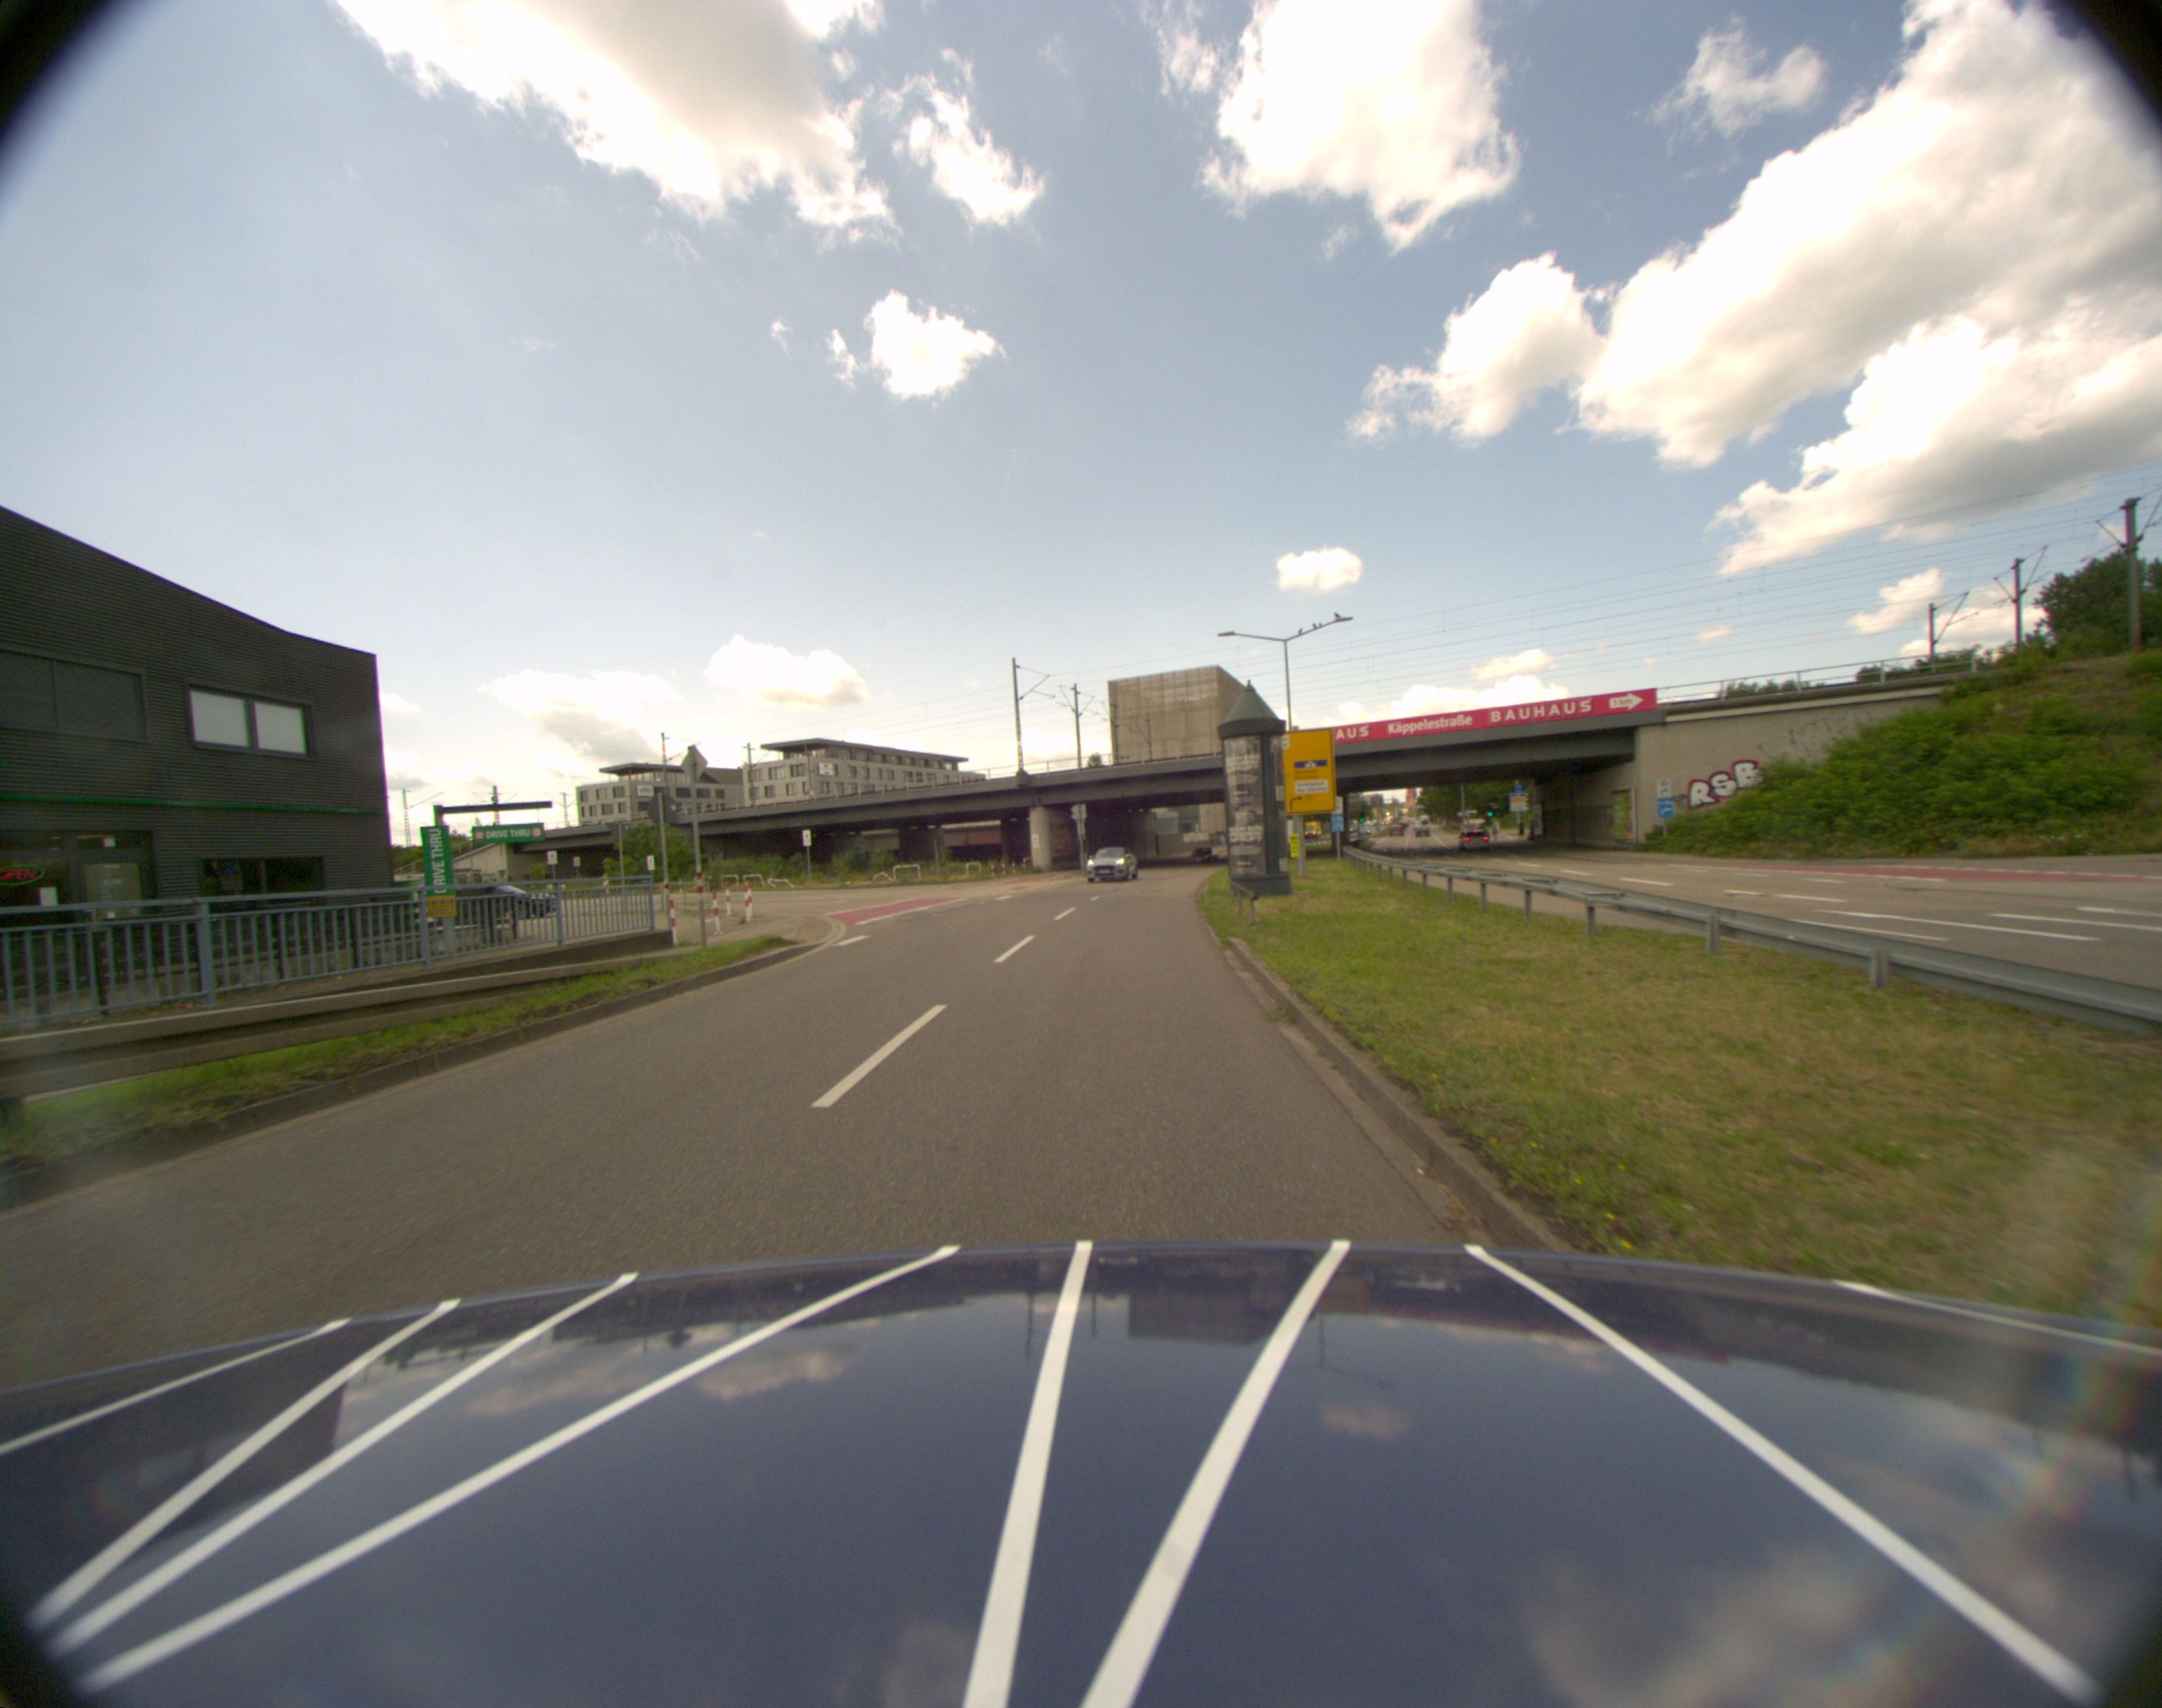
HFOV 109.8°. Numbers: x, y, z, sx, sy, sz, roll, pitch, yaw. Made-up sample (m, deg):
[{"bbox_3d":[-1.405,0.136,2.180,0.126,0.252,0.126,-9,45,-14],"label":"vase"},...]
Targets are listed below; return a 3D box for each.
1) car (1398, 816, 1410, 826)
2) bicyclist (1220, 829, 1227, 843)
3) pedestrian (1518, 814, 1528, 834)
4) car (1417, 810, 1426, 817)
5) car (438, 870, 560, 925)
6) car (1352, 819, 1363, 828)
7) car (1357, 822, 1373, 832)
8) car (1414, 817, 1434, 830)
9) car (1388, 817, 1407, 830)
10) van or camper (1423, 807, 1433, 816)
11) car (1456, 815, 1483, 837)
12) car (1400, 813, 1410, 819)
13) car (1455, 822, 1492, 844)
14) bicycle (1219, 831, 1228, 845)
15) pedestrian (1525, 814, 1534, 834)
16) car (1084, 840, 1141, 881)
[{"bbox_3d":[62.485,-6.422,146.982,1.996,1.749,4.722,-3,2,22],"label":"car"},{"bbox_3d":[19.323,-2.430,102.915,0.716,1.759,0.989,-3,3,20],"label":"bicyclist"},{"bbox_3d":[38.041,-2.559,65.349,0.591,1.671,0.556,-3,2,22],"label":"pedestrian"},{"bbox_3d":[83.004,-9.791,185.154,1.927,1.520,4.006,-3,1,25],"label":"car"},{"bbox_3d":[-24.475,1.804,32.033,3.876,2.002,1.755,-3,1,9],"label":"car"},{"bbox_3d":[53.511,-5.914,146.879,1.780,1.488,3.603,-3,2,24],"label":"car"},{"bbox_3d":[45.520,-4.313,121.701,1.996,1.407,4.838,-4,1,24],"label":"car"},{"bbox_3d":[44.104,-3.891,97.600,1.949,1.366,4.005,-4,2,29],"label":"car"},{"bbox_3d":[44.906,-4.346,107.688,1.995,1.666,4.329,-2,2,30],"label":"car"},{"bbox_3d":[104.287,-12.731,228.383,2.354,2.525,7.072,-4,2,23],"label":"van or camper"},{"bbox_3d":[38.418,-2.793,75.207,1.995,2.002,4.342,-3,2,22],"label":"car"},{"bbox_3d":[76.877,-8.985,180.236,1.976,1.381,4.786,-2,2,24],"label":"car"},{"bbox_3d":[29.130,-1.555,56.467,1.754,1.502,4.004,-3,1,18],"label":"car"},{"bbox_3d":[19.360,-2.213,103.007,0.720,1.764,2.536,-3,2,20],"label":"bicycle"},{"bbox_3d":[38.051,-2.563,64.460,0.554,1.616,0.587,-3,2,25],"label":"pedestrian"},{"bbox_3d":[1.492,0.242,34.712,1.822,1.565,3.956,-5,1,12],"label":"car"}]
